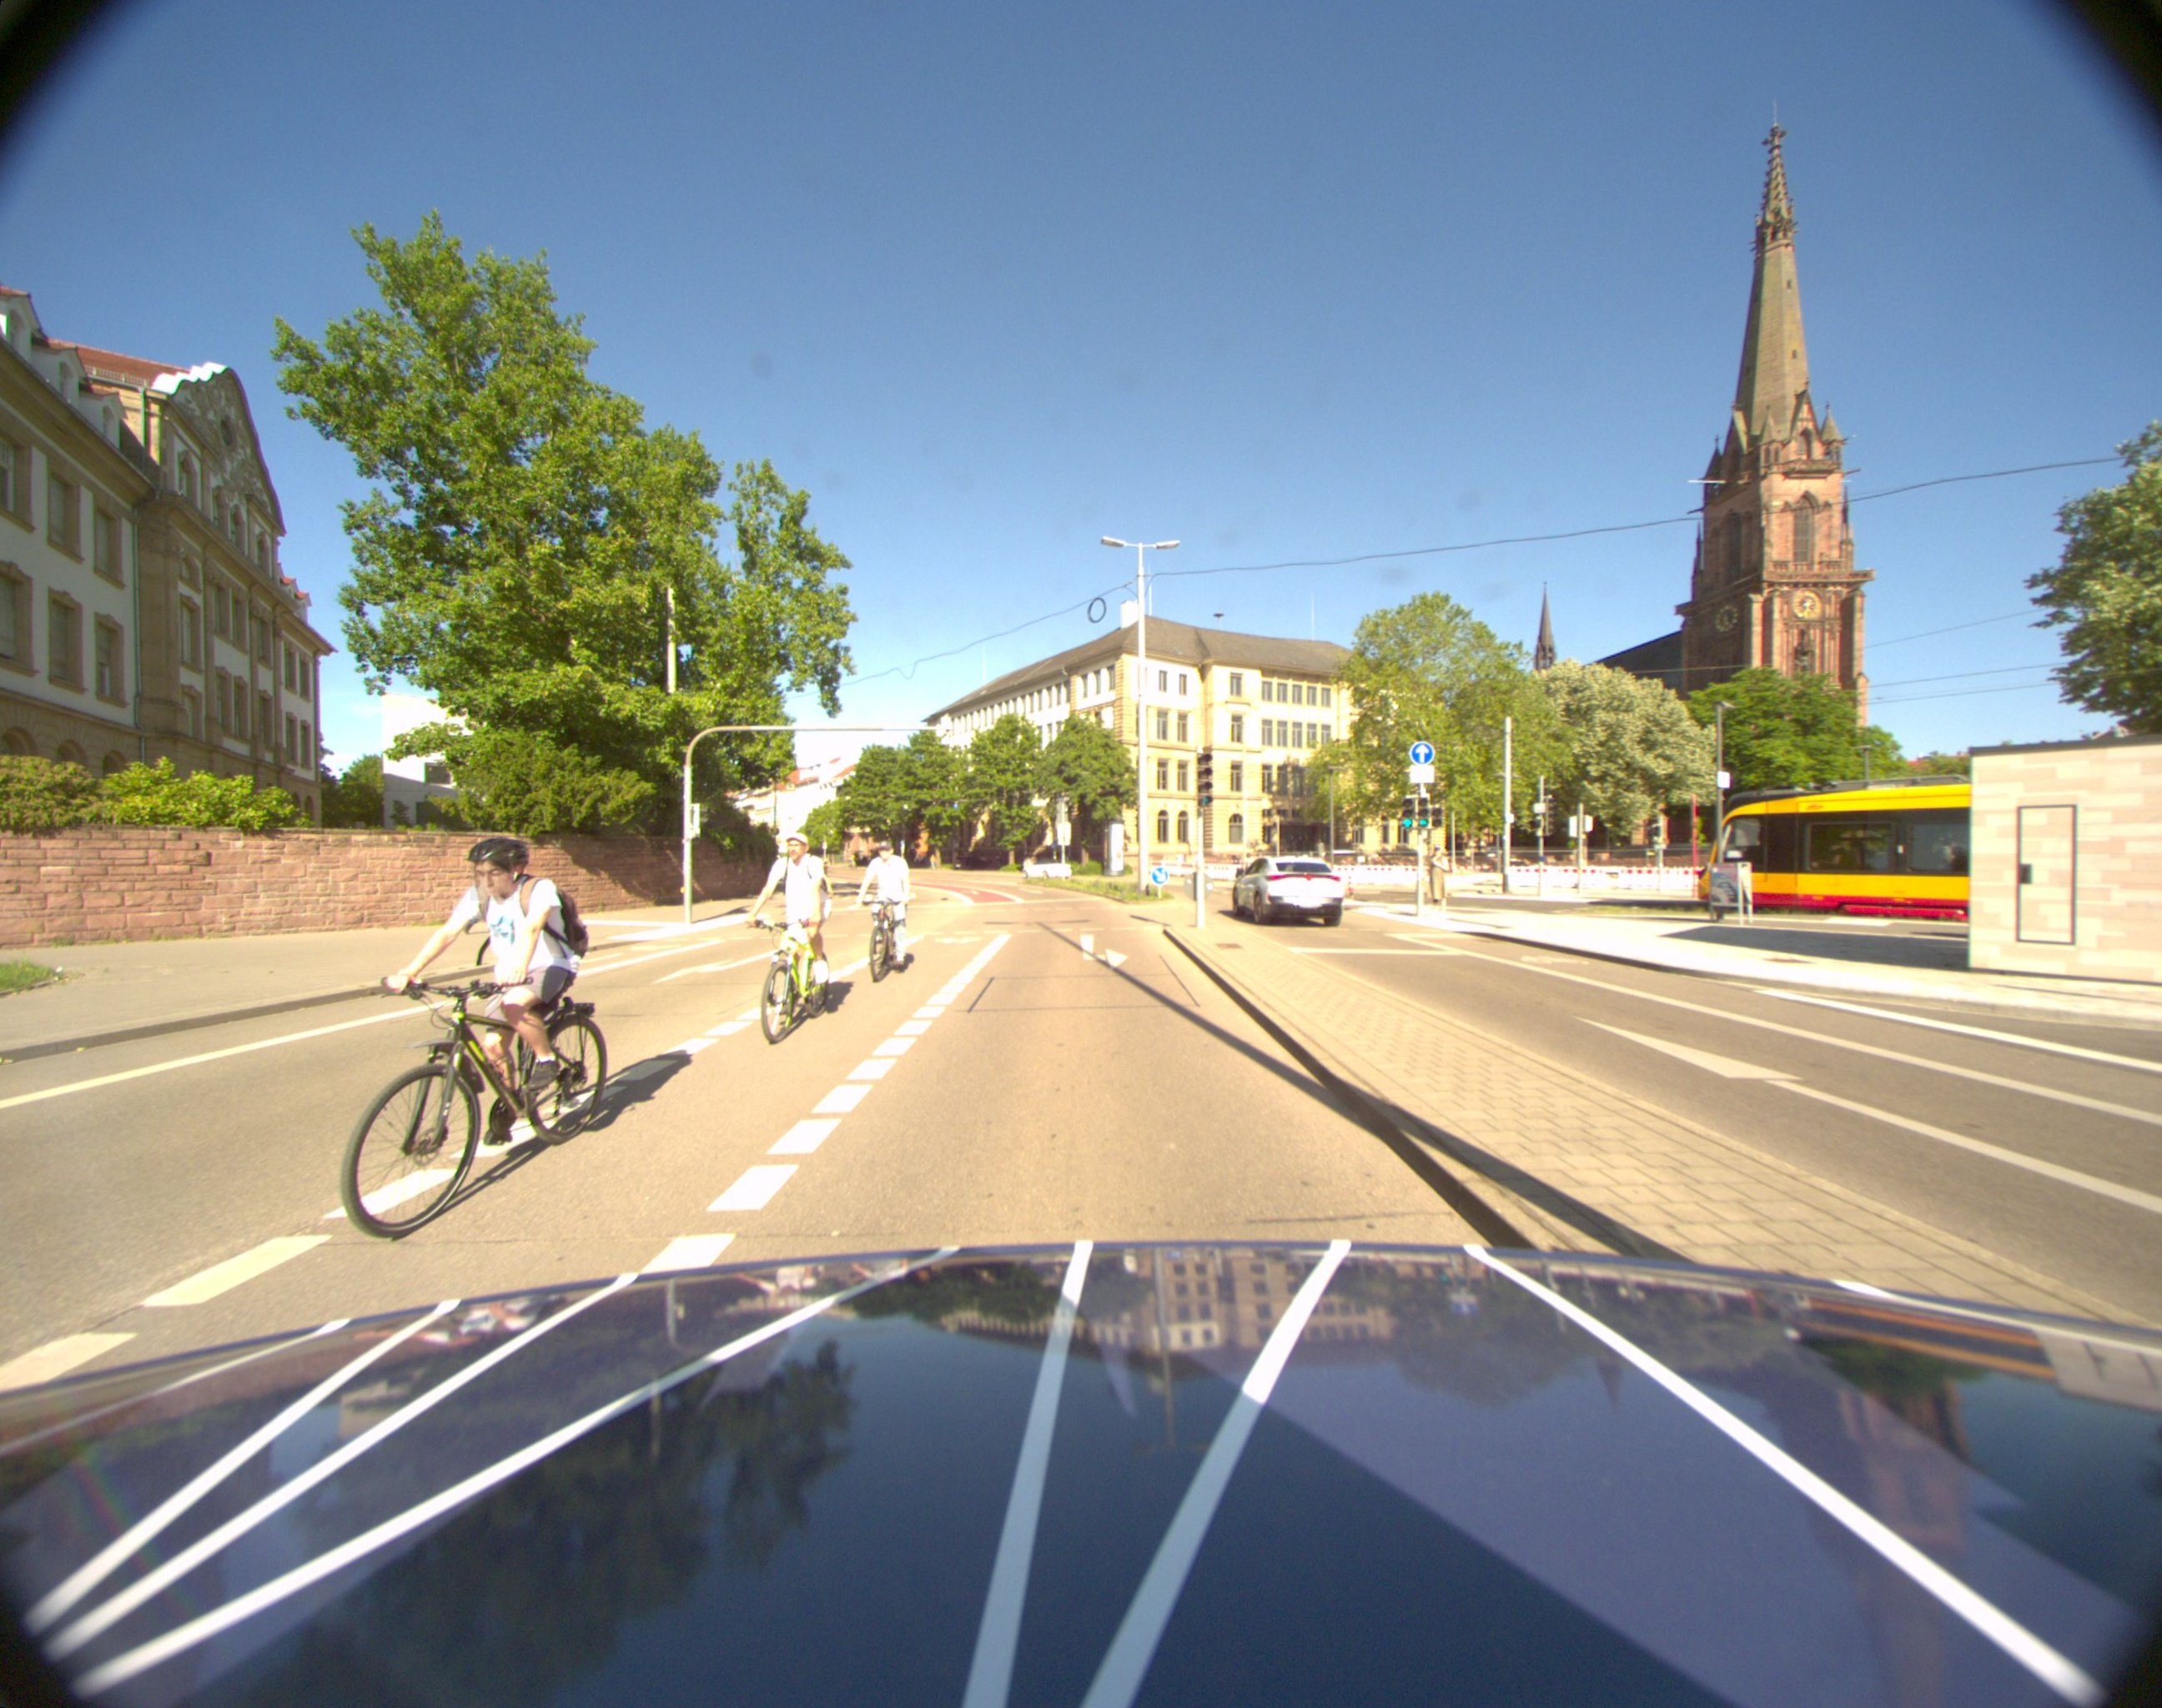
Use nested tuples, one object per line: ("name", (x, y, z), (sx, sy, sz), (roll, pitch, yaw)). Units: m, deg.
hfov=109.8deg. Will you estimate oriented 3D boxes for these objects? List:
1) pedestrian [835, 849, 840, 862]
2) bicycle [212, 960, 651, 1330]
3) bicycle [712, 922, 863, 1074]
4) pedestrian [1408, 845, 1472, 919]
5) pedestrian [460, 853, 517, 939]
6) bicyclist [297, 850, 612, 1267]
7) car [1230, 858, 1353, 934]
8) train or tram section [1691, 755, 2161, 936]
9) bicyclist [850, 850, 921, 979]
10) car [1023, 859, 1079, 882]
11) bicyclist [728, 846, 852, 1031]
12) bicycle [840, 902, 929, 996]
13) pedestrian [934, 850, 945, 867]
("pedestrian", (-36.475, 0.229, 113.843), (0.758, 1.801, 0.979), (-2, -3, -19))
("bicycle", (-2.979, 1.234, 3.798), (0.616, 1.131, 1.826), (-1, 0, -1))
("bicycle", (-2.662, 1.256, 7.128), (0.673, 1.044, 1.843), (-2, 0, -1))
("pedestrian", (9.130, 0.688, 19.380), (1.229, 1.845, 0.827), (0, 1, -5))
("pedestrian", (-13.149, 0.915, 16.879), (0.963, 1.839, 0.729), (1, 1, -37))
("bicyclist", (-2.980, 0.880, 3.736), (0.678, 1.775, 0.939), (-2, 1, -1))
("car", (4.899, 0.900, 18.333), (1.846, 1.543, 4.336), (1, 0, 1))
("train or tram section", (21.817, -0.175, 16.932), (2.807, 3.580, 12.504), (-1, 1, -35))
("bicyclist", (-2.633, 0.784, 10.305), (0.742, 1.664, 0.865), (0, 1, -1))
("car", (-2.119, 1.115, 52.047), (1.853, 1.477, 4.154), (-1, 0, -35))
("bicyclist", (-2.687, 0.733, 7.124), (0.676, 1.574, 1.081), (-2, 1, 0))
("bicycle", (-2.629, 1.238, 10.370), (0.749, 1.044, 1.903), (0, 0, -1))
("pedestrian", (-15.180, 0.528, 81.239), (0.759, 1.802, 0.978), (-1, 1, -40))
